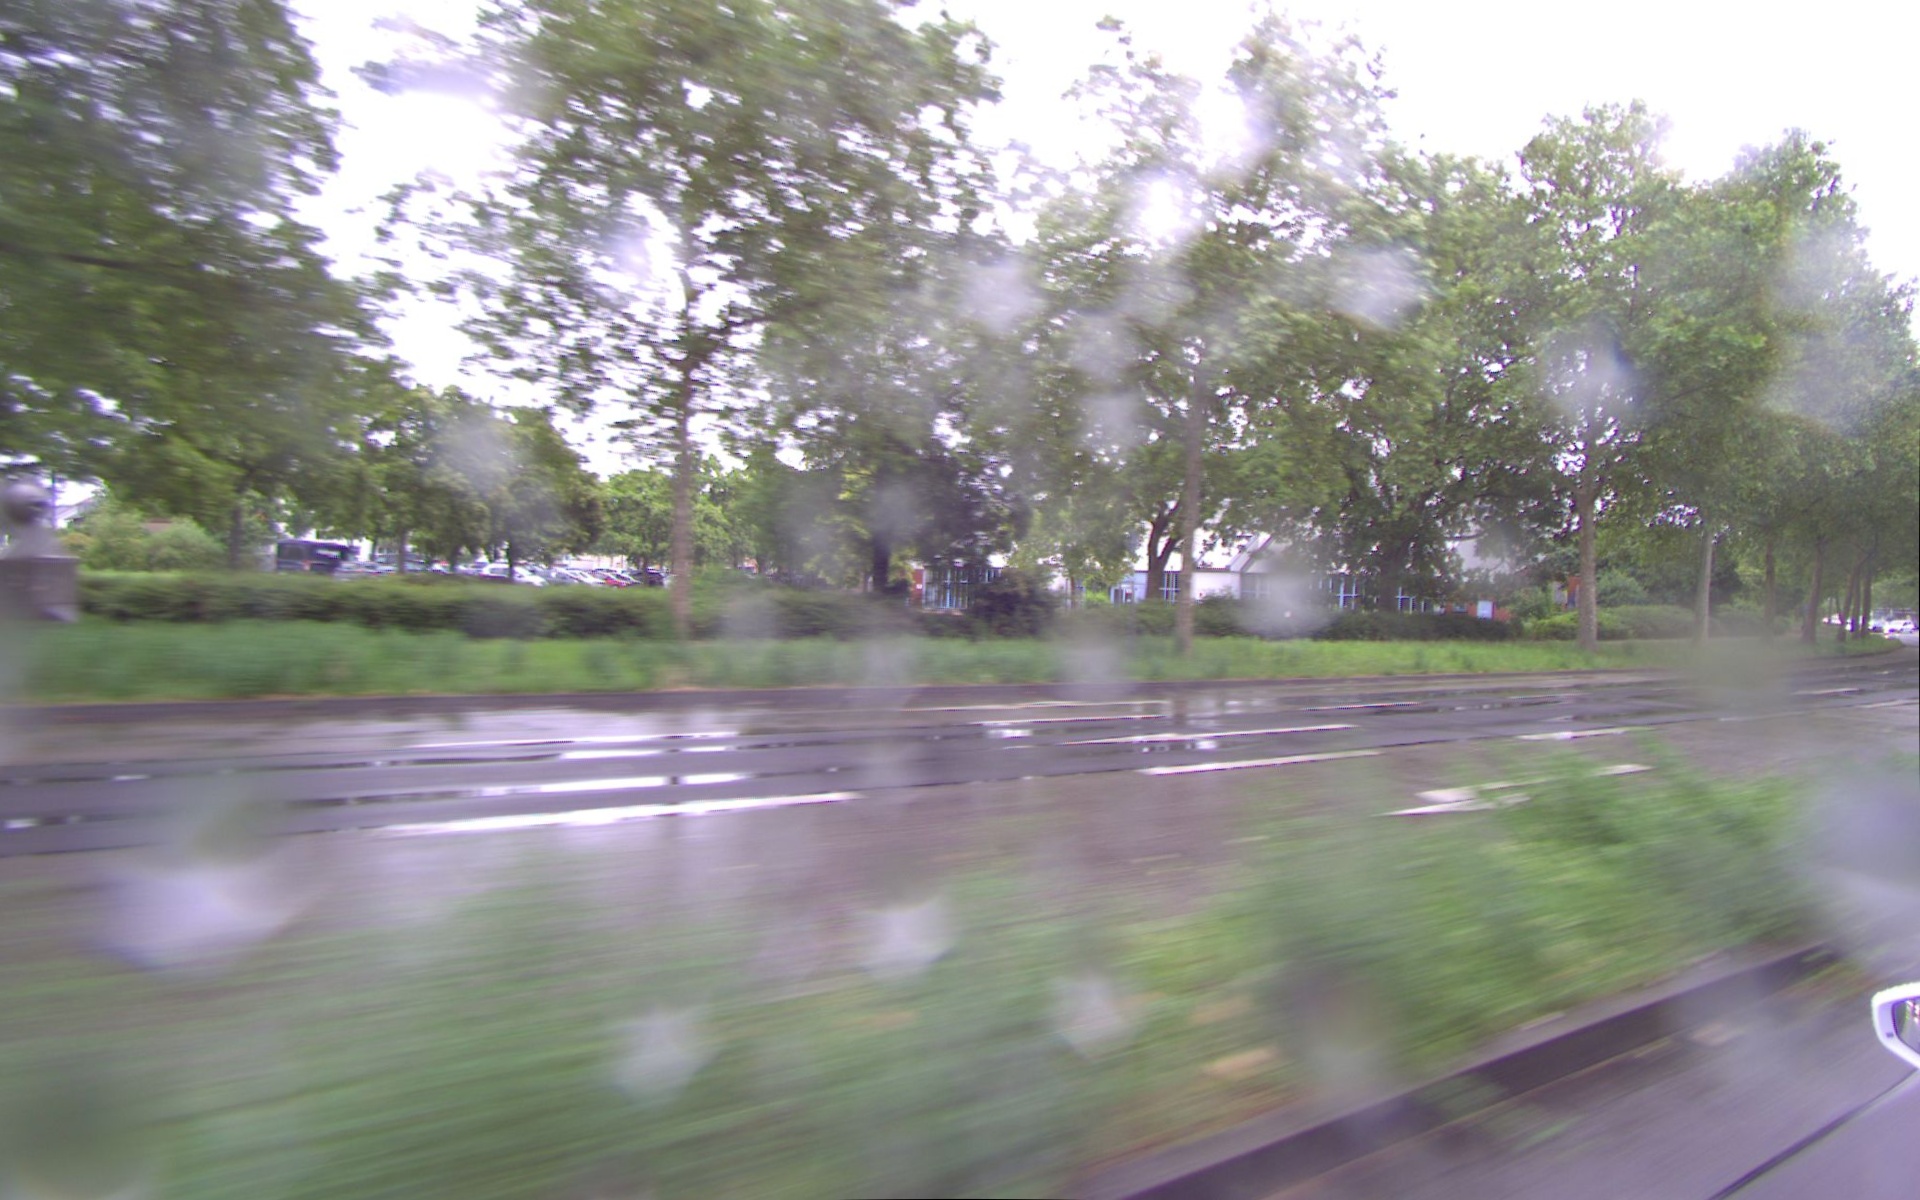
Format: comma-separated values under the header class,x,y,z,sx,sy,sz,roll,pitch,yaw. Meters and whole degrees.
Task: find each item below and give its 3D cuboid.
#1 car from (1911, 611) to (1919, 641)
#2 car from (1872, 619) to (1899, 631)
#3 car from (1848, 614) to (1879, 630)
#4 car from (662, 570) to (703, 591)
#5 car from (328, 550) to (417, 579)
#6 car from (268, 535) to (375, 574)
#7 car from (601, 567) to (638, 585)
class,x,y,z,sx,sy,sz,roll,pitch,yaw
car,69.341,1.850,71.704,1.959,2.041,3.978,2,2,42
car,112.267,3.000,121.917,1.738,1.243,3.772,2,2,33
car,103.389,2.522,115.012,1.966,1.606,3.988,2,2,33
car,-23.356,-1.679,84.760,2.142,1.721,4.088,1,2,2
car,-33.012,-1.960,56.627,1.721,1.551,4.851,1,2,7
car,-35.567,-2.483,56.157,2.266,2.041,5.119,1,2,7
car,-32.436,-2.327,95.729,1.780,1.640,3.920,1,2,6
